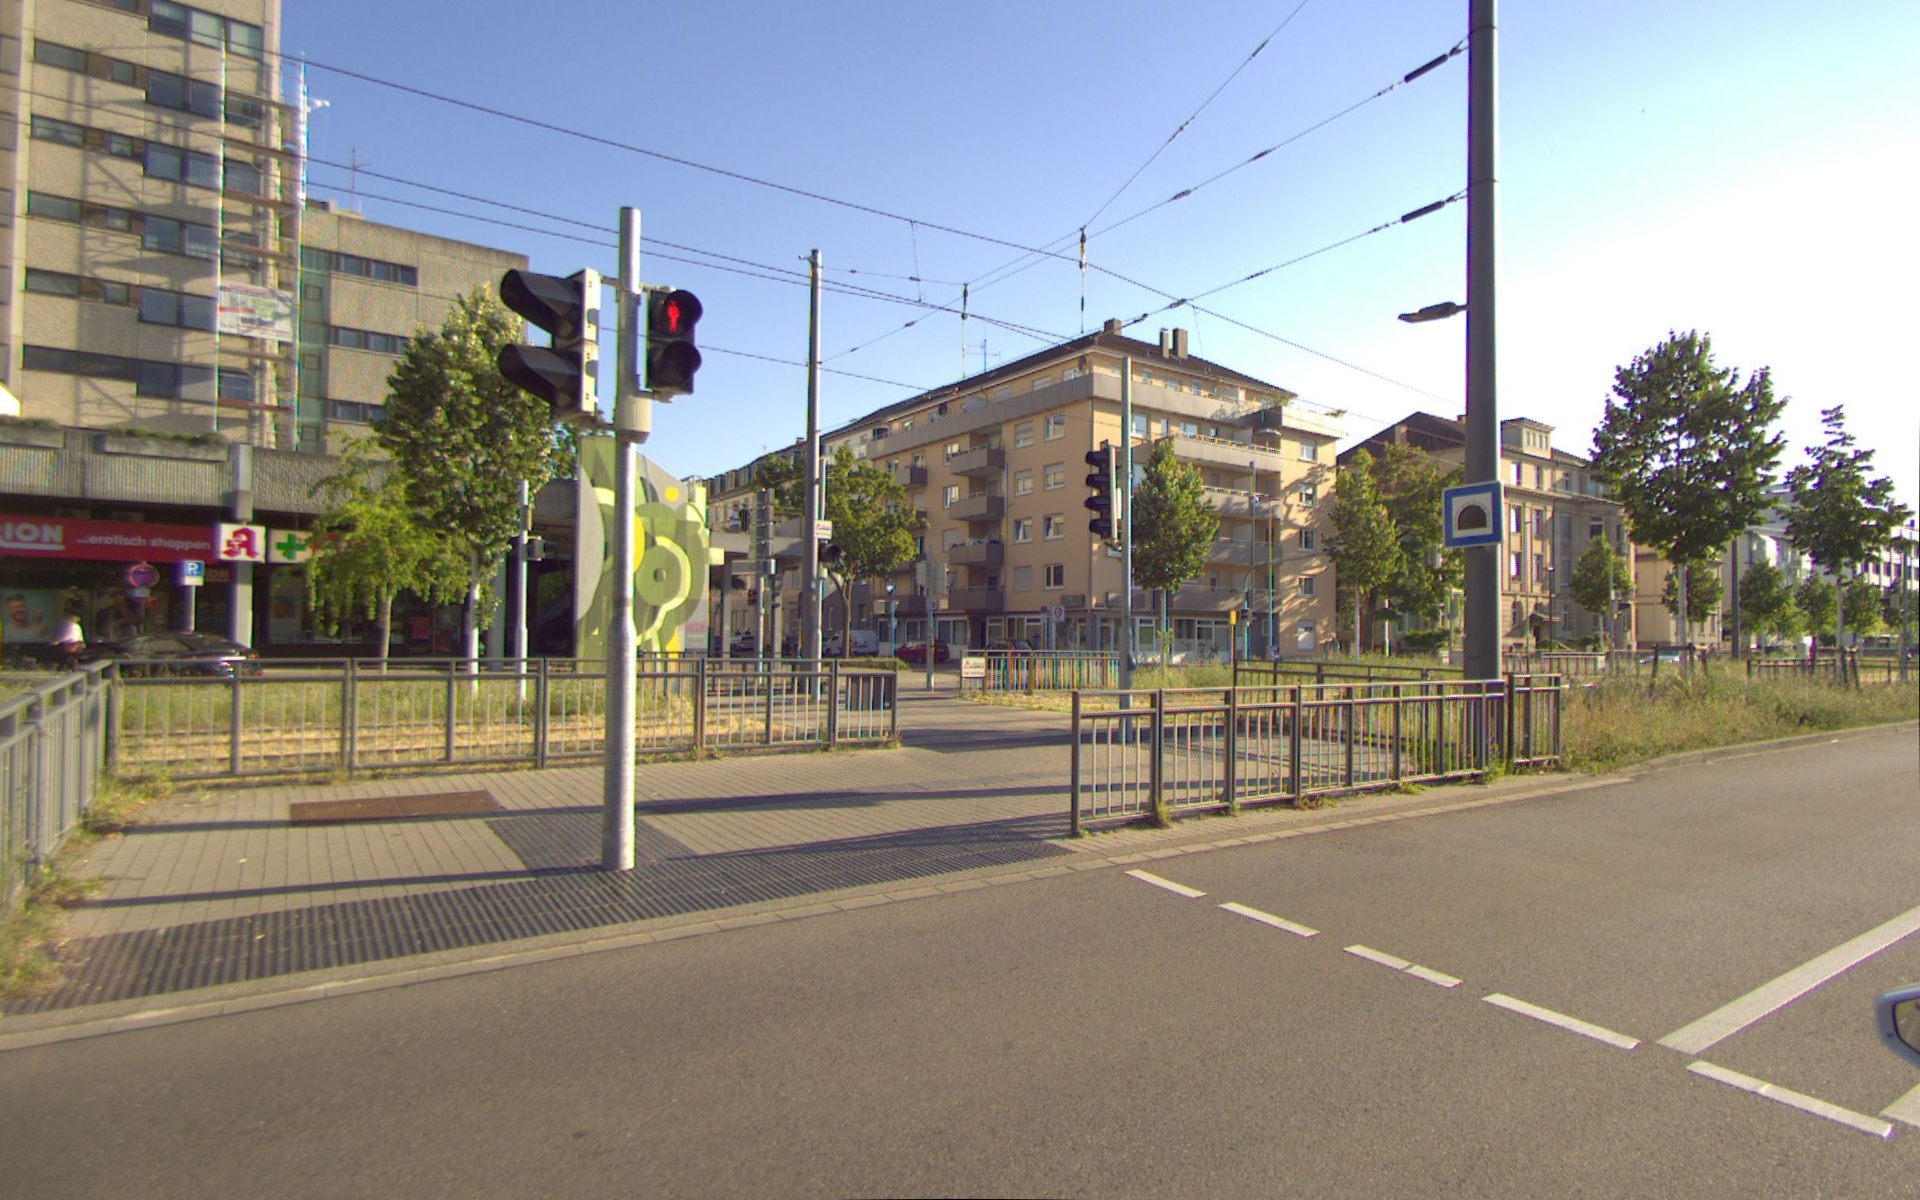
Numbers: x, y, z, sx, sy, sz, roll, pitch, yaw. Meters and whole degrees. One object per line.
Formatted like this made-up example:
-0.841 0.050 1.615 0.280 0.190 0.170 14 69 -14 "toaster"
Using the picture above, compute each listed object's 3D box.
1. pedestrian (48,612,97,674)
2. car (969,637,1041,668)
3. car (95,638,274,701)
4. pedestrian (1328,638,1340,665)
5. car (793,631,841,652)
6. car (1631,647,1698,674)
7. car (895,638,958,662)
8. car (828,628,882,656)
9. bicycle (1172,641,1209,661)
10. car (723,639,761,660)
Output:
-24.510 1.188 27.750 0.874 1.661 0.769 2 -2 -35 "pedestrian"
2.373 2.781 53.808 1.829 1.516 3.962 2 -2 -34 "car"
-18.884 1.665 24.506 3.396 1.291 1.622 2 -1 12 "car"
22.270 3.076 59.788 0.444 1.576 0.515 2 -2 -35 "pedestrian"
-10.362 2.997 72.507 1.829 1.452 3.962 2 -2 -34 "car"
40.829 3.508 58.200 4.617 1.482 1.764 2 -2 -36 "car"
-2.059 2.999 60.551 1.979 1.321 3.963 2 -2 -34 "car"
-7.111 2.796 67.488 1.979 1.766 3.963 2 -2 -34 "car"
13.451 2.965 58.521 2.560 1.152 0.527 2 -2 -35 "bicycle"
-18.269 4.121 84.069 1.803 1.627 3.850 2 -2 -34 "car"
